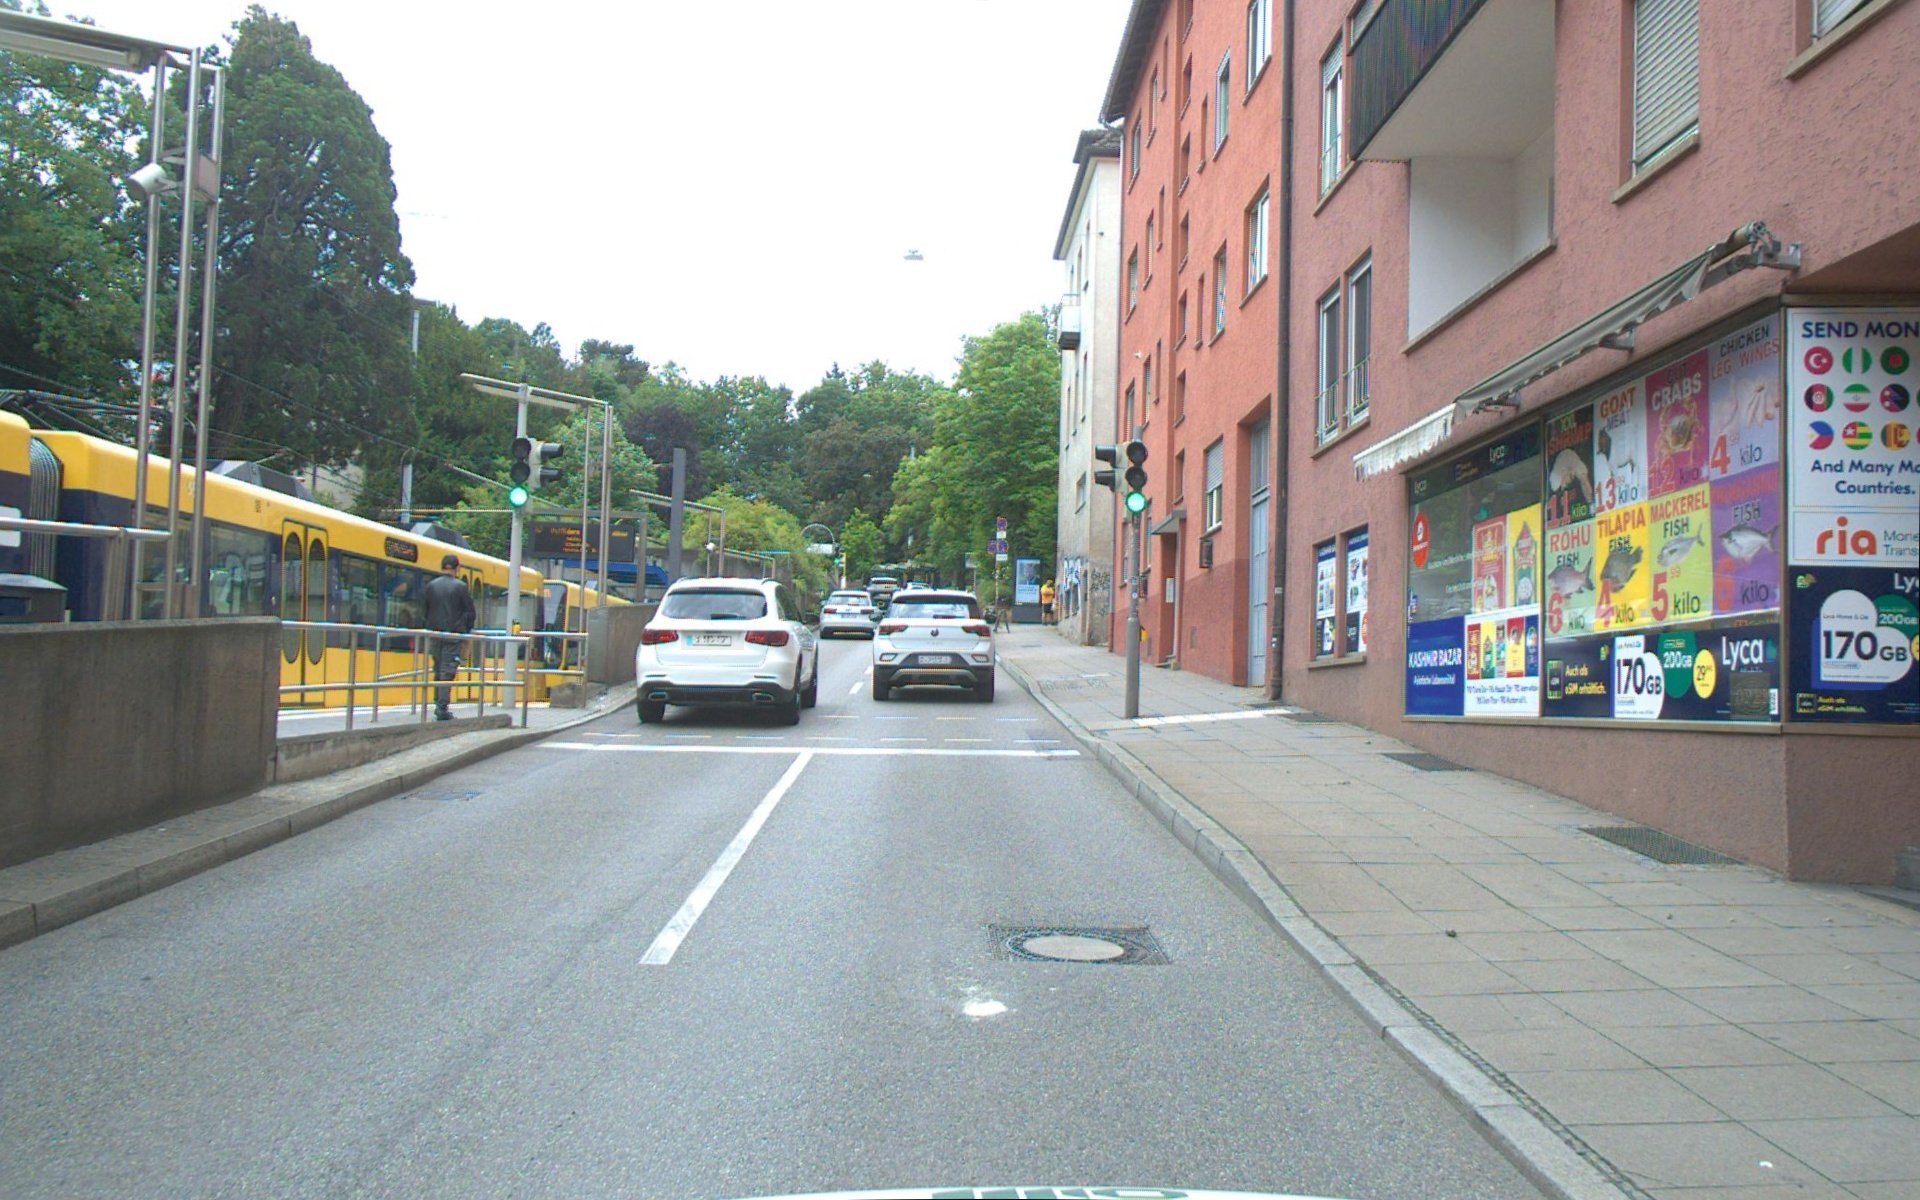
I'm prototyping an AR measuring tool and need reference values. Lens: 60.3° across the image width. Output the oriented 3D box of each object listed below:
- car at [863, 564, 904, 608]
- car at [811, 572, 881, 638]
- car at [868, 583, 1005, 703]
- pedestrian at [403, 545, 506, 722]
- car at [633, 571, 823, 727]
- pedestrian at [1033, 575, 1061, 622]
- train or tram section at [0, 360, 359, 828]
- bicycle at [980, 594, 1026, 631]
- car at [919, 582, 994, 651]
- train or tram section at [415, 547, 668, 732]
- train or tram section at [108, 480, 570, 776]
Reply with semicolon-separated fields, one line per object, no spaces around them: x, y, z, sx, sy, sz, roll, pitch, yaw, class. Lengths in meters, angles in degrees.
-3.553;-0.641;77.175;1.714;1.914;3.999;3;0;-1;car
-3.557;0.138;52.175;1.953;1.914;3.999;3;0;-1;car
-0.308;0.580;24.580;1.826;1.583;3.894;2;0;0;car
-5.356;0.342;17.559;0.784;1.808;0.818;2;0;-1;pedestrian
-2.697;0.522;20.145;1.839;1.681;4.340;0;0;-2;car
3.233;-0.054;61.594;0.819;1.742;0.818;0;0;-15;pedestrian
-8.735;0.014;13.988;2.889;3.533;12.213;1;-3;-1;train or tram section
1.403;0.403;54.093;0.631;1.163;2.048;-2;1;-26;bicycle
-0.108;0.389;42.813;1.823;1.660;3.958;2;0;-1;car
-9.318;0.911;38.835;2.890;3.570;12.981;1;-1;-1;train or tram section
-8.995;0.539;26.270;2.890;3.545;12.213;1;-2;-1;train or tram section
